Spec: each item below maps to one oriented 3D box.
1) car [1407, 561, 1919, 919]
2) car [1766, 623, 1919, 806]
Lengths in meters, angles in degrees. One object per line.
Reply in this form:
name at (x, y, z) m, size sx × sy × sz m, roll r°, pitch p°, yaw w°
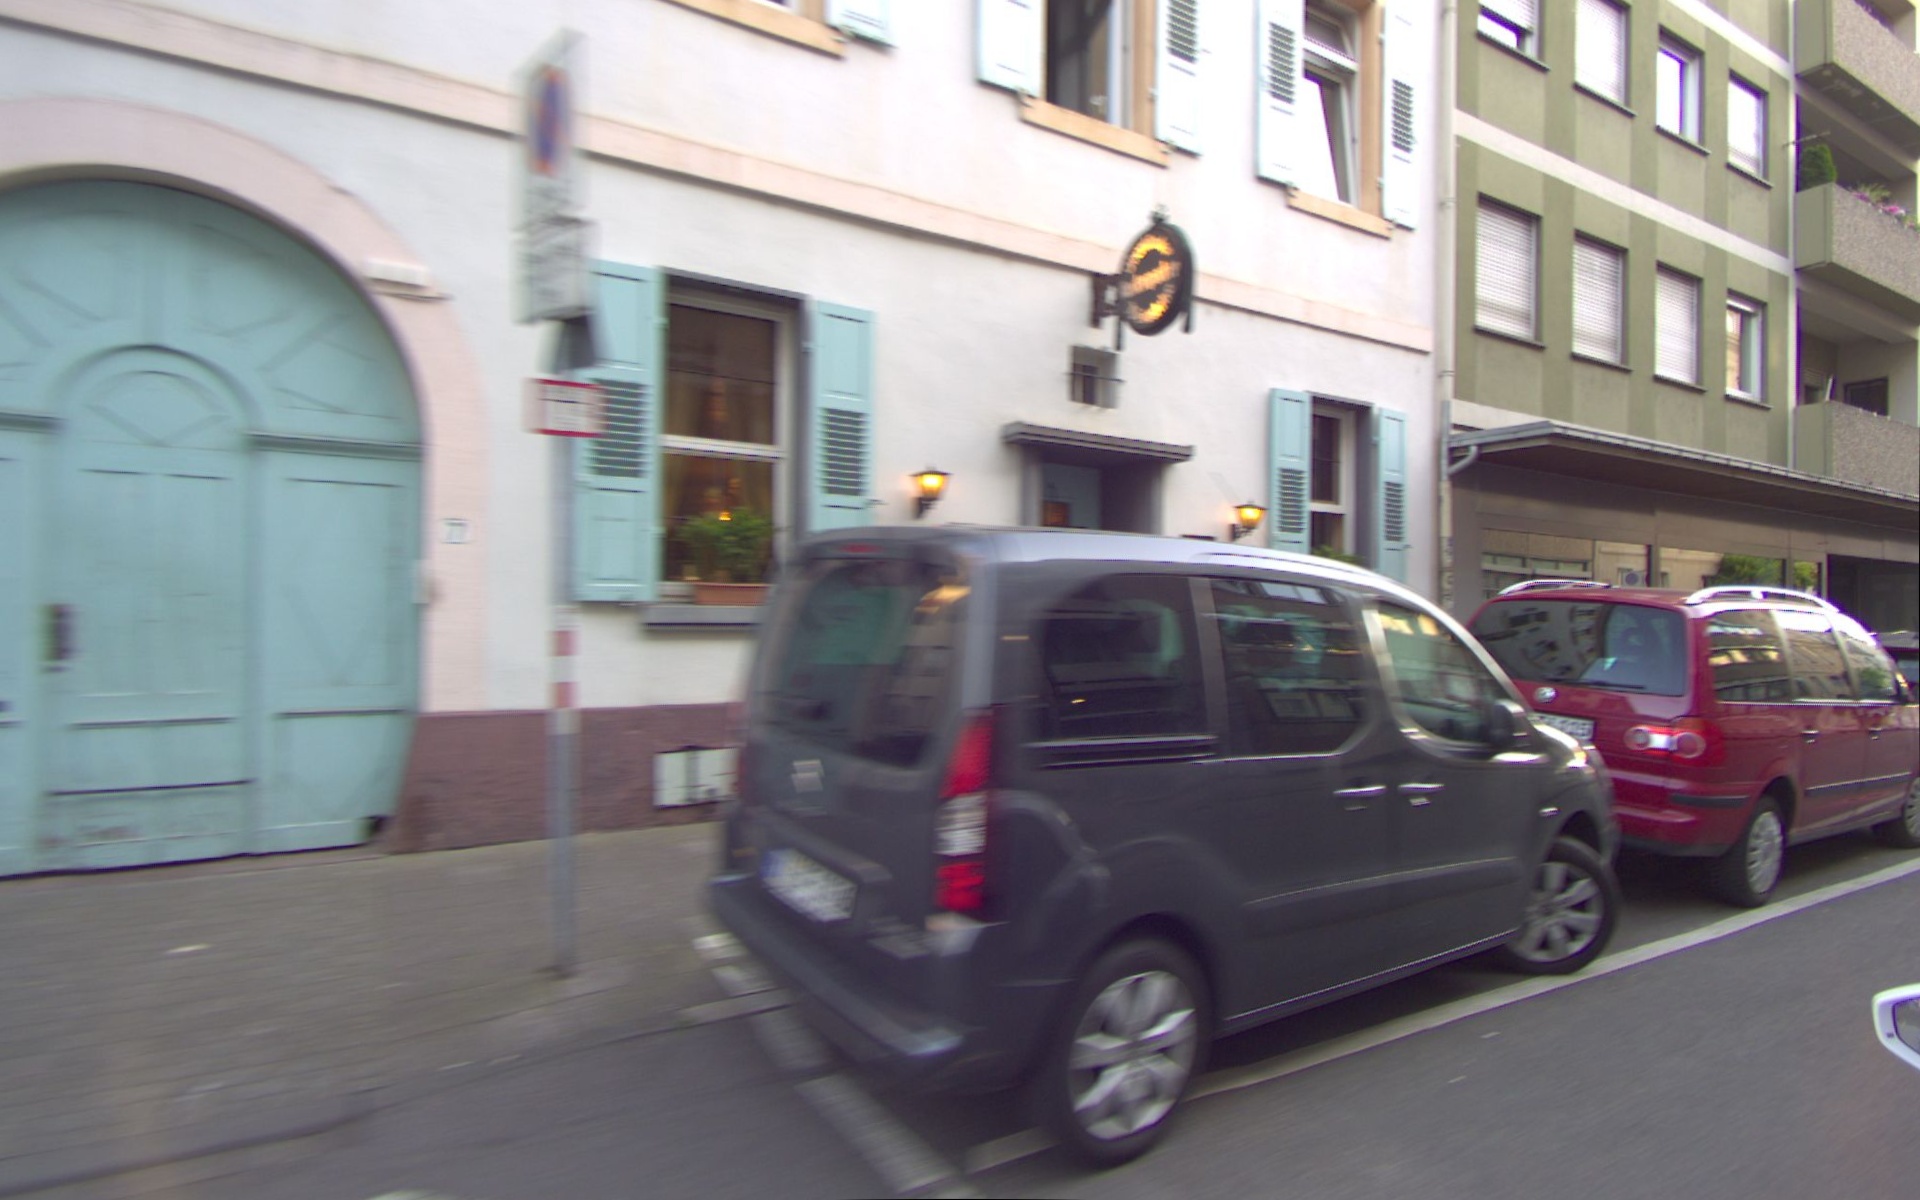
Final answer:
car at (5.315, 0.750, 7.097) m, size 4.460 × 1.835 × 1.762 m, roll 1°, pitch 0°, yaw -32°
car at (9.410, 0.979, 9.455) m, size 3.833 × 1.504 × 1.616 m, roll 1°, pitch -1°, yaw -31°
